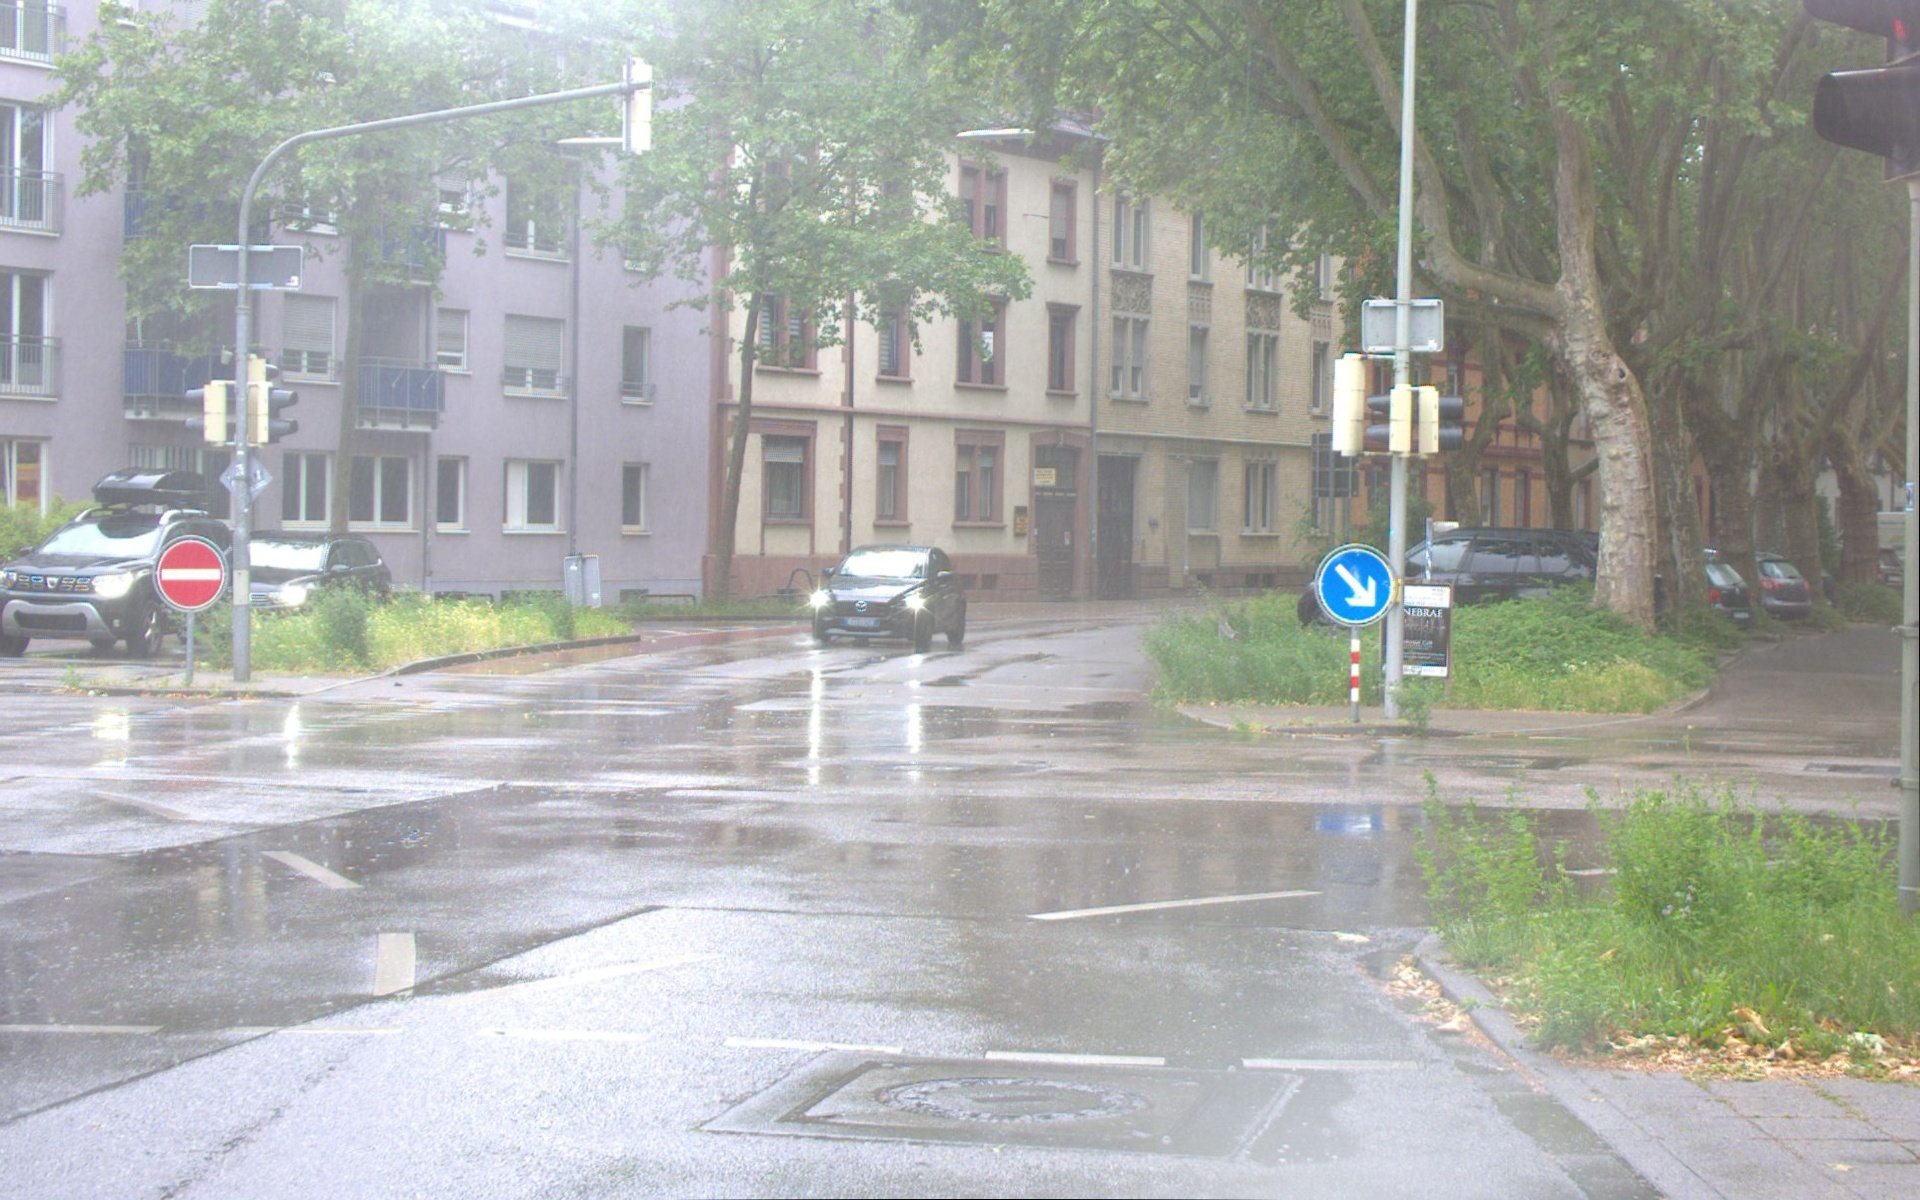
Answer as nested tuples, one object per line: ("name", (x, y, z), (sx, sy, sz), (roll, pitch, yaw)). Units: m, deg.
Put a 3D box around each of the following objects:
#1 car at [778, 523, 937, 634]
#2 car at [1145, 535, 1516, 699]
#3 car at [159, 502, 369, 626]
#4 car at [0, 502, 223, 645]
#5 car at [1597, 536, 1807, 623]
("car", (-1.473, -0.338, 50.485), (1.603, 1.547, 3.558), (0, 1, 11))
("car", (3.602, 0.153, 33.259), (3.480, 1.518, 1.519), (0, 1, 9))
("car", (-9.127, -0.499, 45.338), (1.725, 1.547, 3.559), (-1, 1, 6))
("car", (-9.781, -0.332, 39.069), (1.725, 1.547, 3.559), (-1, 1, 6))
("car", (14.193, -0.395, 65.771), (3.611, 1.612, 1.679), (0, 2, 28))
